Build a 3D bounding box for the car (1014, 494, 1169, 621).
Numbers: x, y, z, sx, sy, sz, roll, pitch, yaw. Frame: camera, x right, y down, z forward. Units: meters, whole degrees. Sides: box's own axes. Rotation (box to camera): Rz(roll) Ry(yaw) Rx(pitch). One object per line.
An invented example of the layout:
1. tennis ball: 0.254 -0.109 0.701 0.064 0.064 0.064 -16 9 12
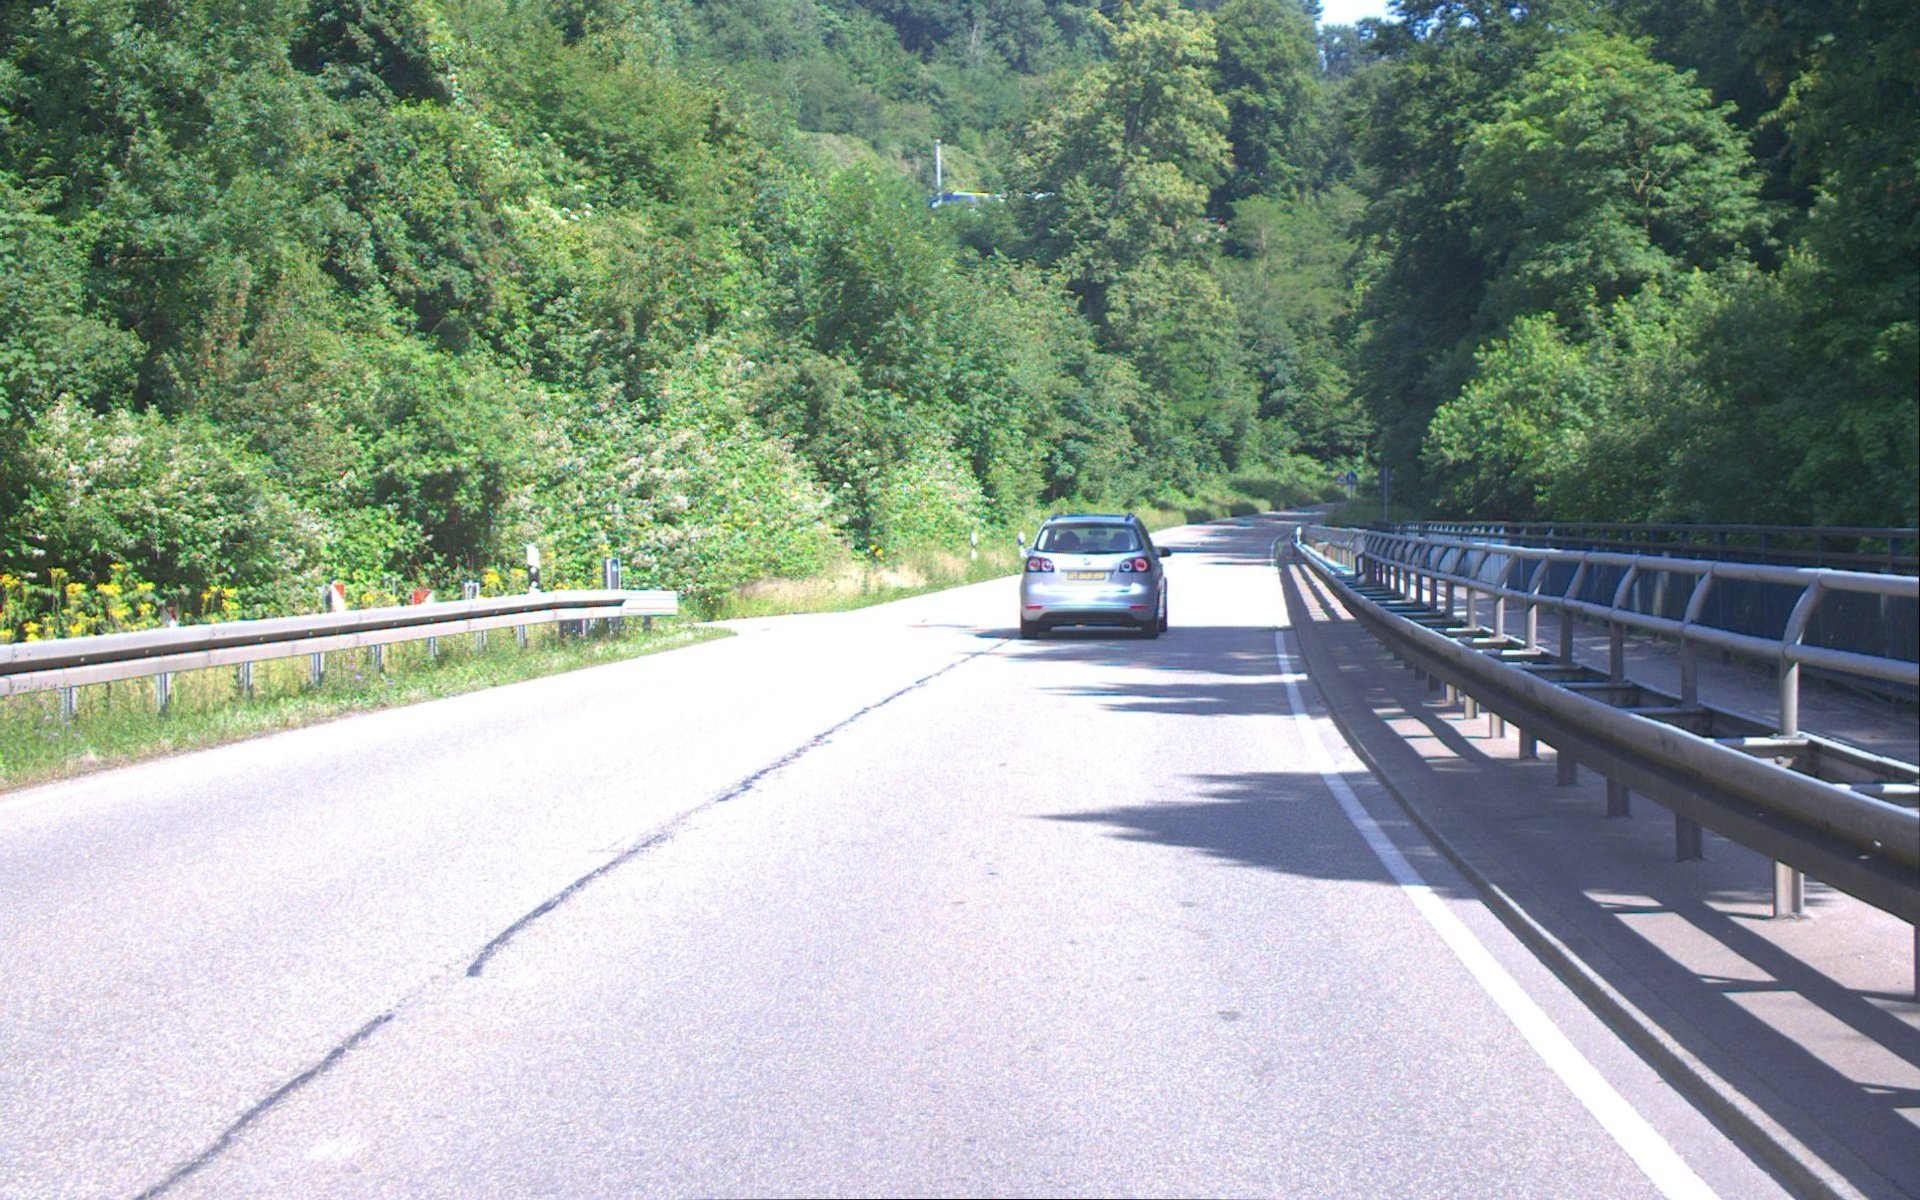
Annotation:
1. car: 1.737 -0.584 44.180 1.751 1.514 4.159 1 2 5
